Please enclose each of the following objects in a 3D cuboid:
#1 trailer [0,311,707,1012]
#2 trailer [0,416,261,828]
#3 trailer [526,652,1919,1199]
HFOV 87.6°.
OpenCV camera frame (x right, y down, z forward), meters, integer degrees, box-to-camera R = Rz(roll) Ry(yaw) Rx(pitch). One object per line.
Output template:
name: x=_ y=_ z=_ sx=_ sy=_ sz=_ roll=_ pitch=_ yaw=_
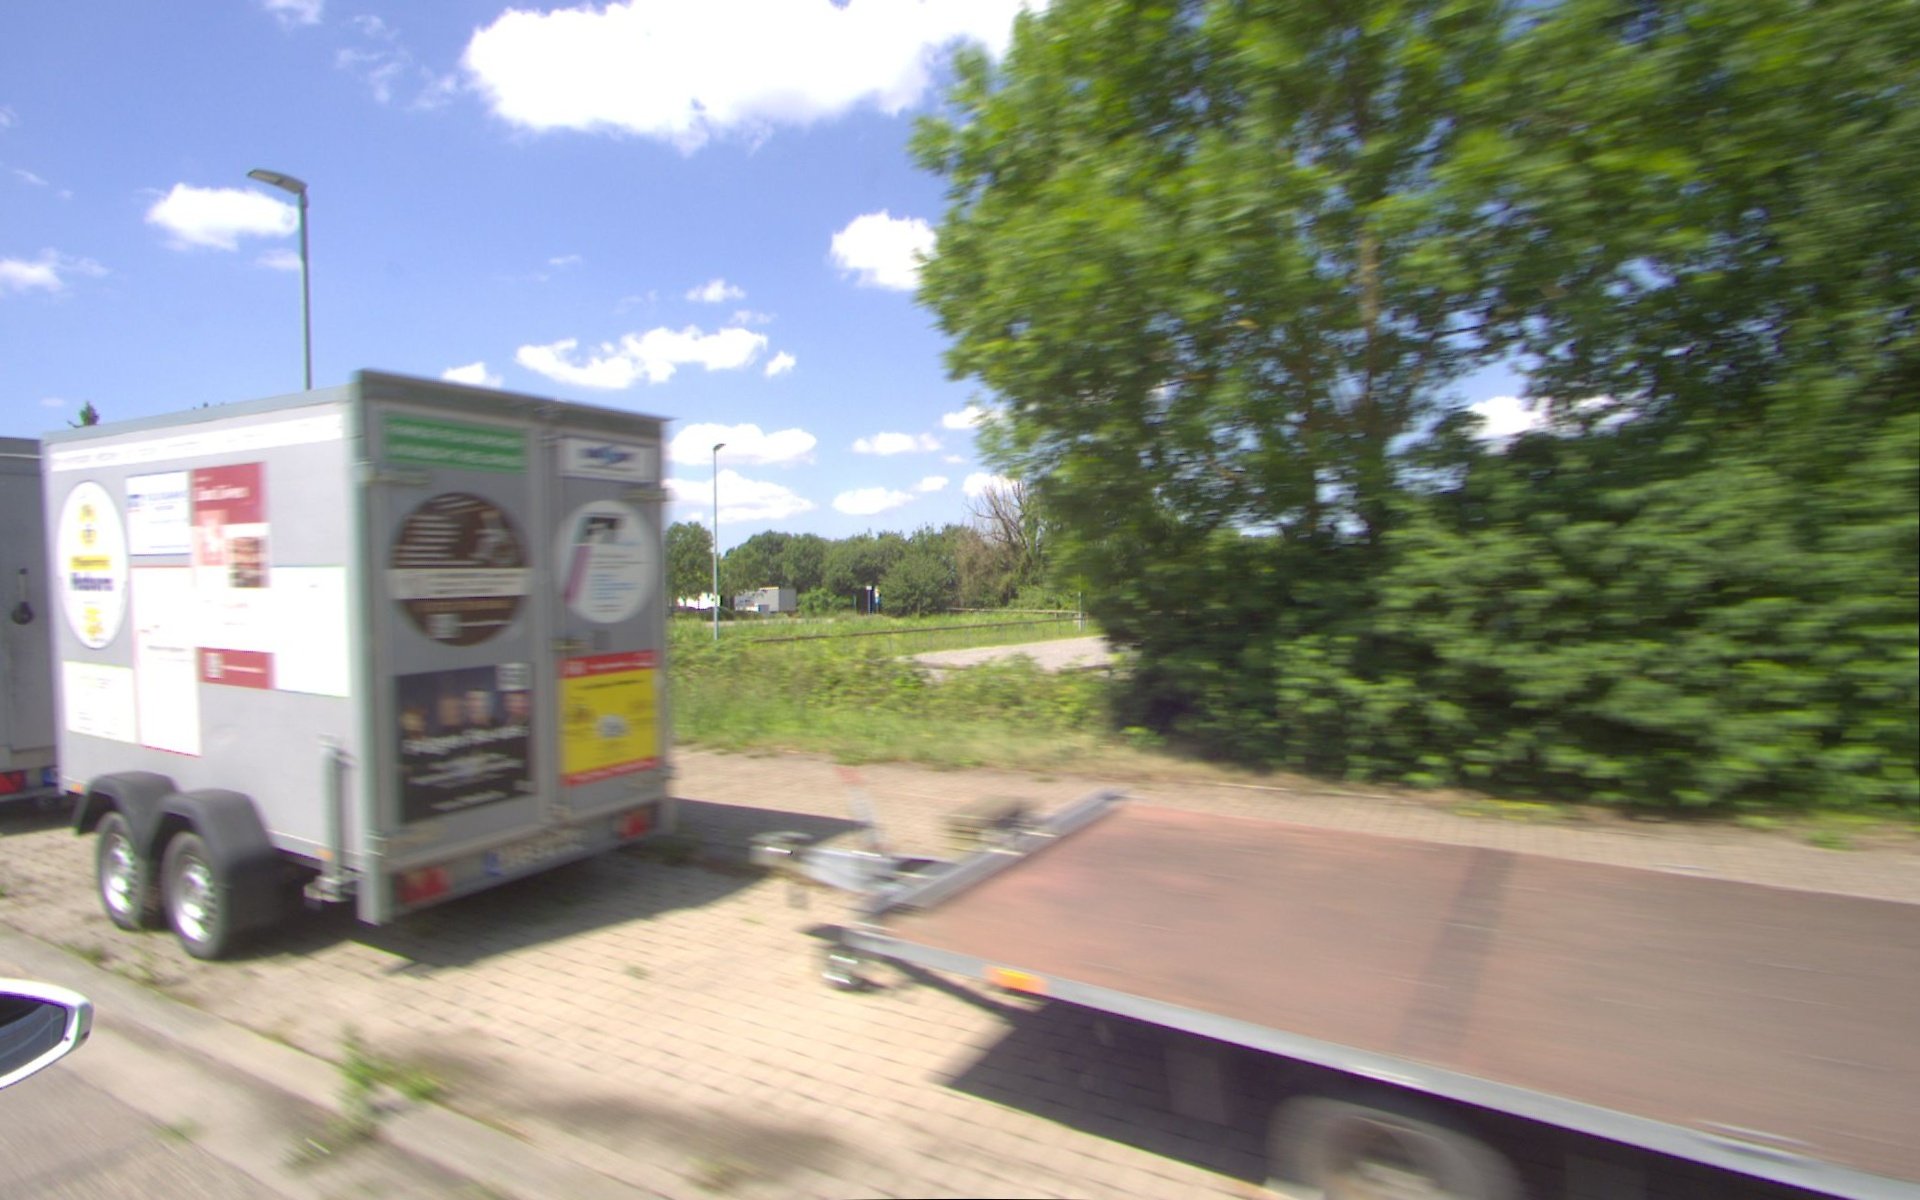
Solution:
trailer: x=-3.863 y=0.207 z=5.632 sx=4.670 sy=2.543 sz=1.915 roll=0 pitch=3 yaw=30
trailer: x=-8.069 y=0.120 z=8.400 sx=5.114 sy=2.681 sz=1.926 roll=0 pitch=3 yaw=36
trailer: x=0.876 y=0.855 z=3.192 sx=4.425 sy=1.138 sz=1.999 roll=-1 pitch=2 yaw=33
